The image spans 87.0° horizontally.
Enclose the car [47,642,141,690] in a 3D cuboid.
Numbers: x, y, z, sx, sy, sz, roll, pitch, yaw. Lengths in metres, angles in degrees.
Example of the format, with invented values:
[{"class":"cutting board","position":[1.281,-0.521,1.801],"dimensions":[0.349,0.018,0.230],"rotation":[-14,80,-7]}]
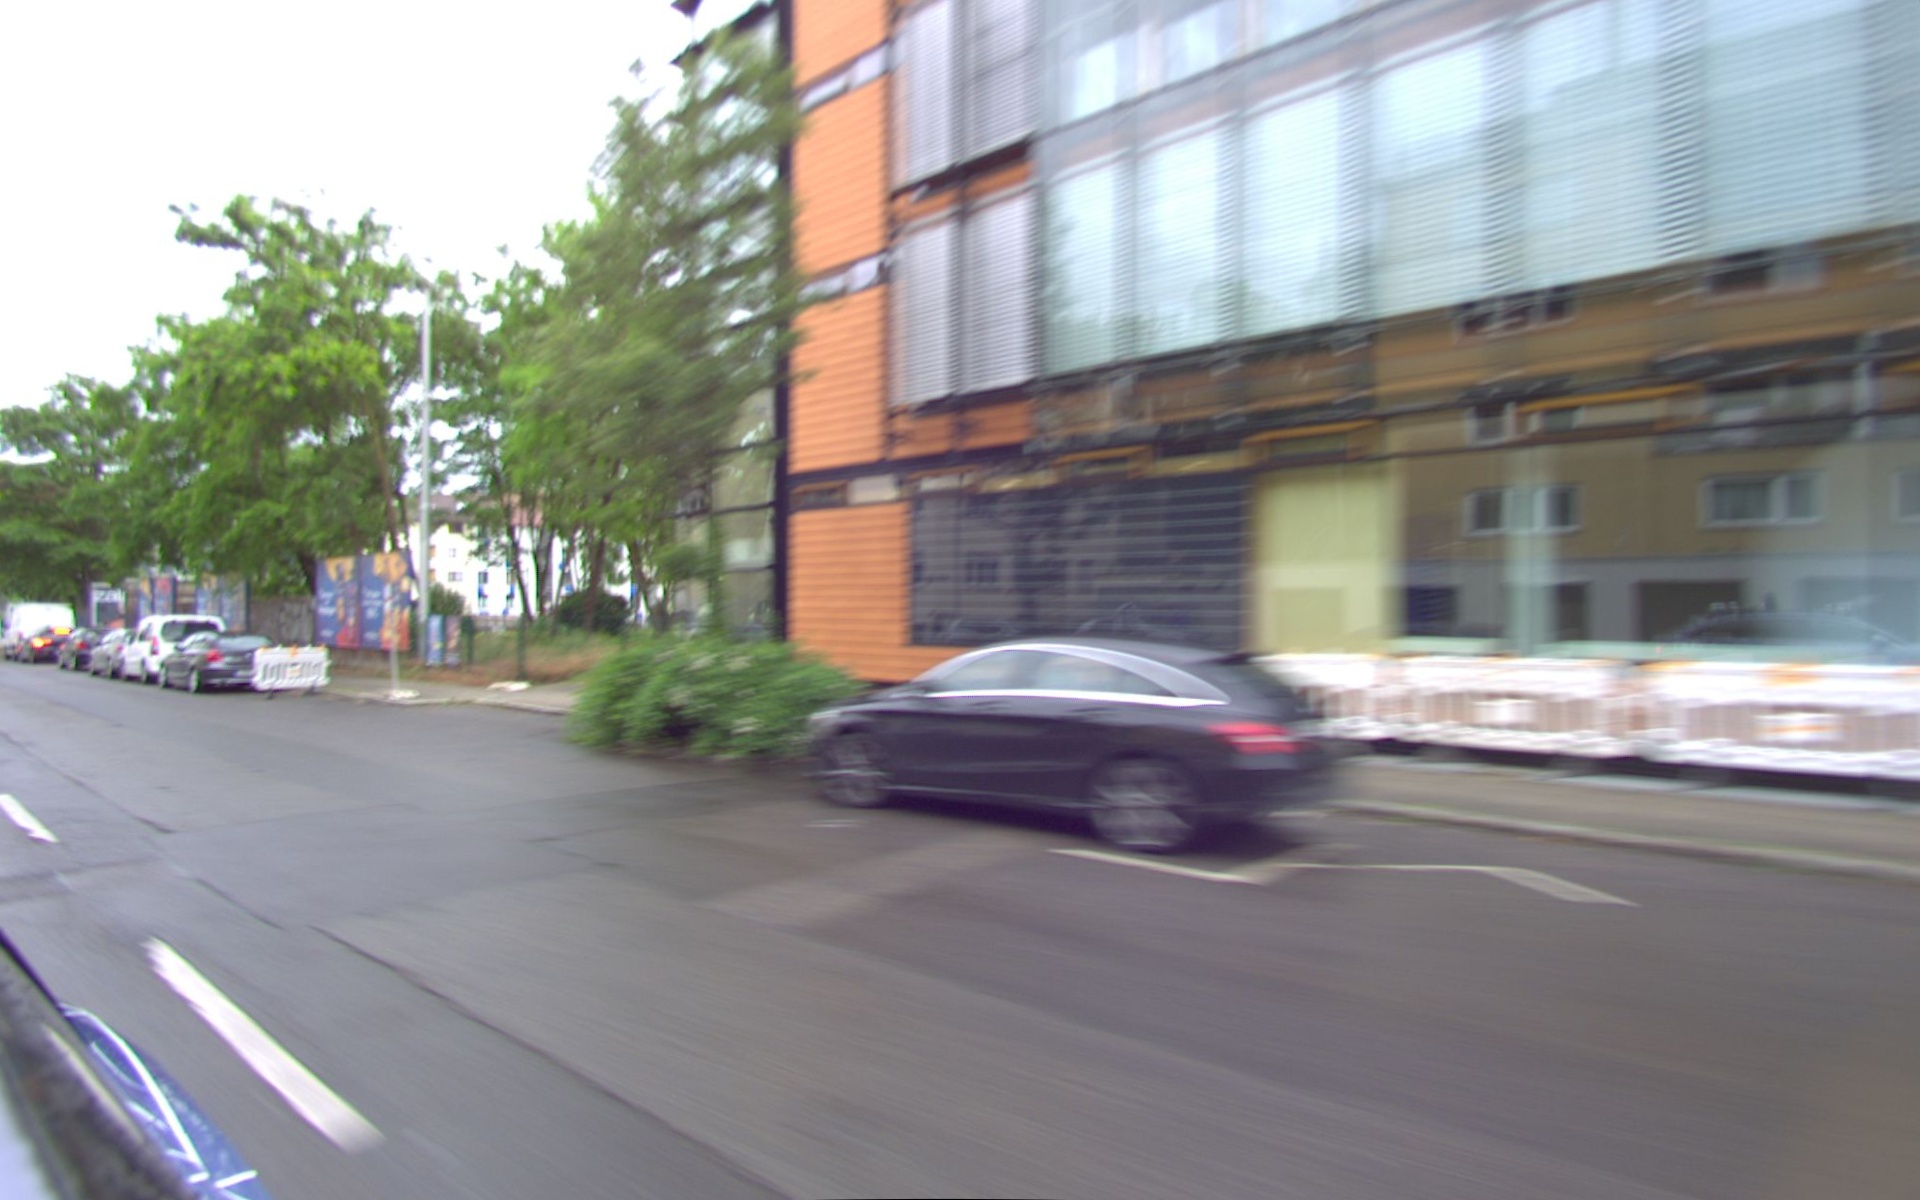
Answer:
[{"class":"car","position":[-29.663,2.215,34.651],"dimensions":[3.514,1.476,1.857],"rotation":[-1,-1,39]}]

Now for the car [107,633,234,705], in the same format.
[{"class":"car","position":[-21.304,1.793,27.272],"dimensions":[3.996,1.722,1.857],"rotation":[-1,-1,39]}]

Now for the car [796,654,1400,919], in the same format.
[{"class":"car","position":[0.859,1.163,7.756],"dimensions":[4.323,1.475,1.706],"rotation":[-2,-3,37]}]

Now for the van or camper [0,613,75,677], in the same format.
[{"class":"van or camper","position":[-41.025,1.920,44.878],"dimensions":[5.550,2.622,2.115],"rotation":[-1,0,43]}]

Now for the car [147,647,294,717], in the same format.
[{"class":"car","position":[-17.466,1.863,23.855],"dimensions":[3.996,1.409,1.857],"rotation":[-1,-1,39]}]

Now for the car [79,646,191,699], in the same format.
[{"class":"car","position":[-24.808,2.128,30.391],"dimensions":[3.826,1.363,1.857],"rotation":[-1,-1,39]}]

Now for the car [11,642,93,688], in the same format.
[{"class":"car","position":[-36.546,2.565,40.700],"dimensions":[3.998,1.586,1.973],"rotation":[-1,0,41]}]
